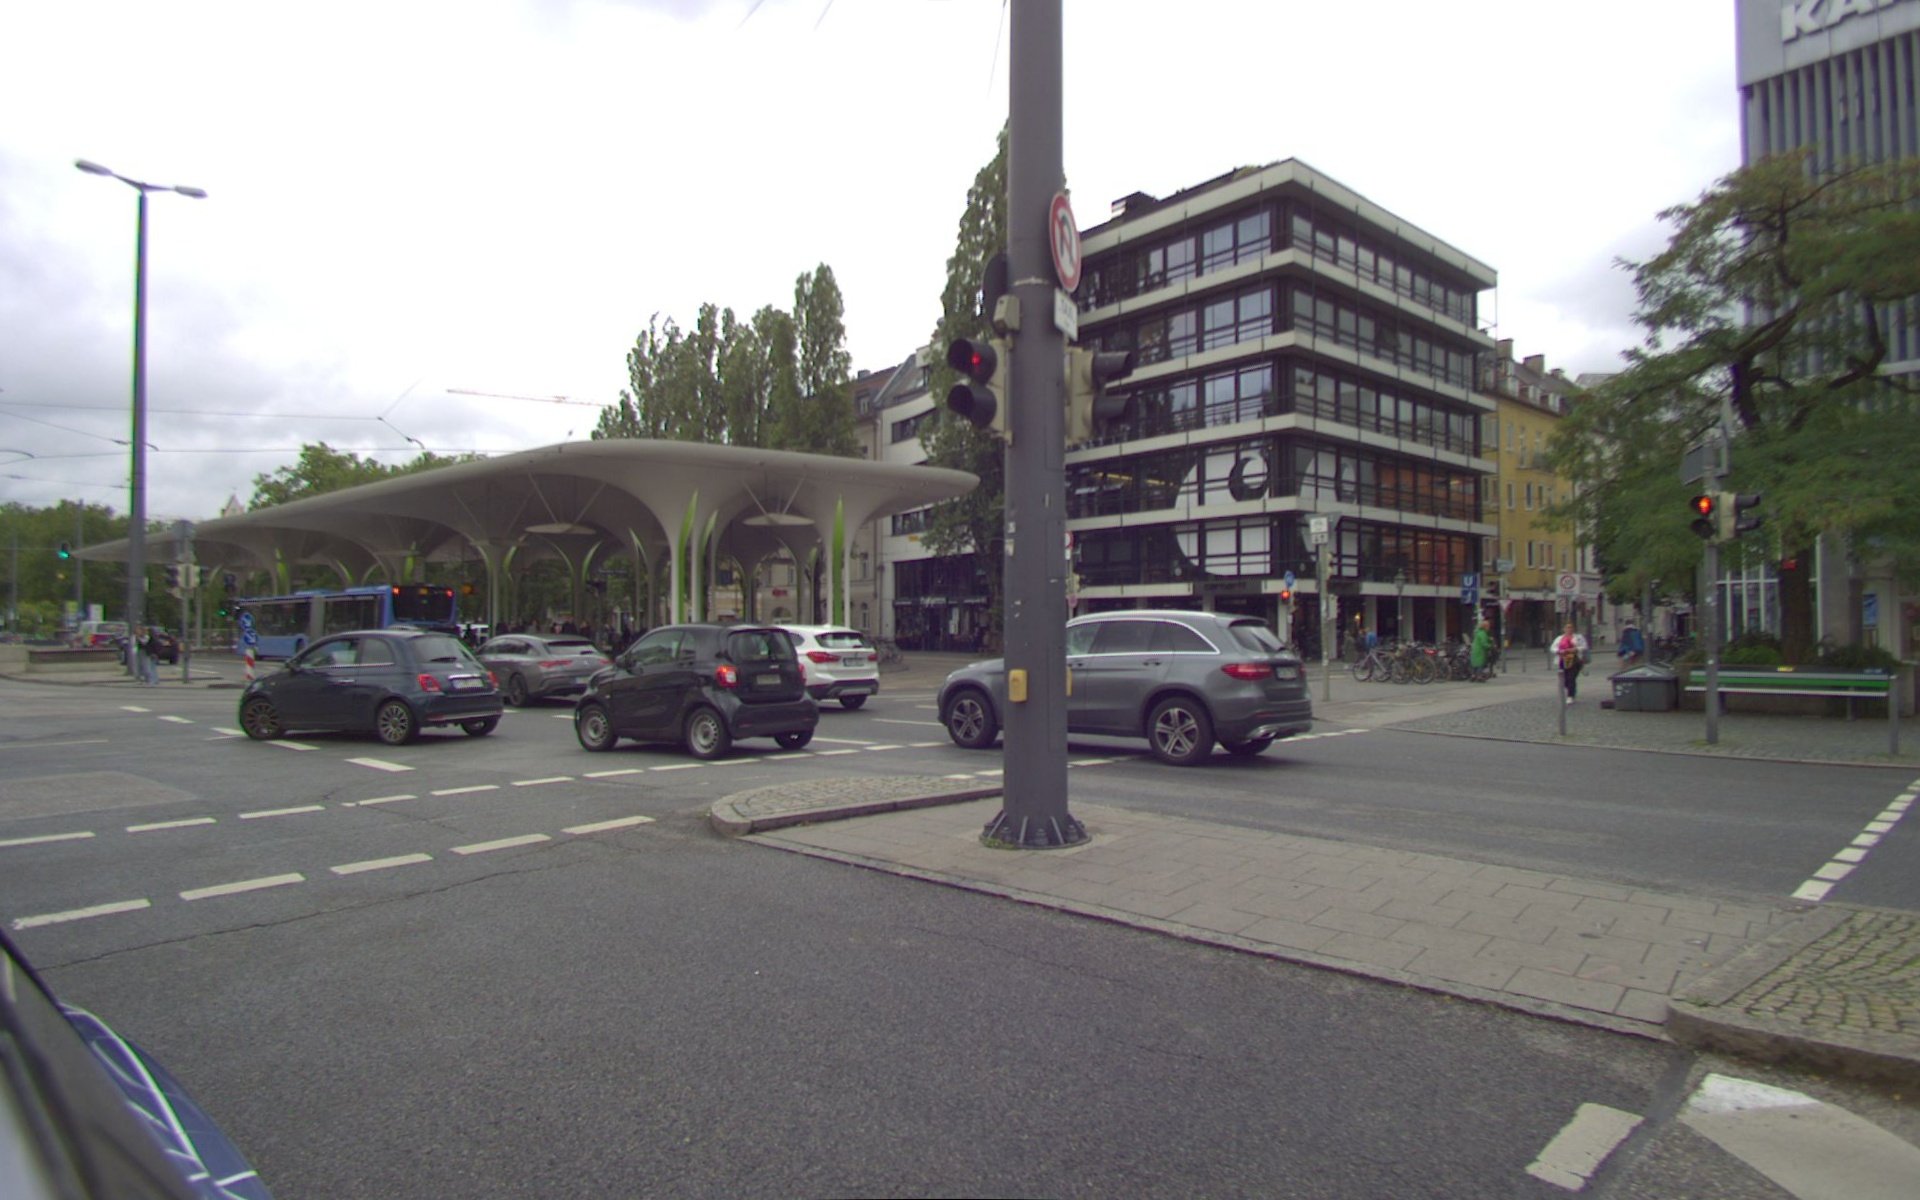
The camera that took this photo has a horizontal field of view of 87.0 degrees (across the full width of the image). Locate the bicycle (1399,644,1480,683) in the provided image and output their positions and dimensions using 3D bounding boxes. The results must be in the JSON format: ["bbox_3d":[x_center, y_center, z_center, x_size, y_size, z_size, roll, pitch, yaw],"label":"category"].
[{"bbox_3d":[13.498,1.774,28.540,1.985,1.005,0.521,1,0,41],"label":"bicycle"}]

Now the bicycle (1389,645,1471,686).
[{"bbox_3d":[12.975,1.794,27.967,1.985,1.005,0.521,1,0,41],"label":"bicycle"}]

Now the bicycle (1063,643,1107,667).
[{"bbox_3d":[5.109,2.245,41.317,1.704,0.946,0.455,1,-1,-6],"label":"bicycle"}]

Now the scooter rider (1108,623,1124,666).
[{"bbox_3d":[6.818,1.940,44.327,0.601,1.853,0.555,0,-2,1],"label":"scooter rider"}]

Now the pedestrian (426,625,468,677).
[{"bbox_3d":[-17.276,1.703,34.106,0.835,1.694,0.967,-1,-2,20],"label":"pedestrian"}]

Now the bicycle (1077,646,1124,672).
[{"bbox_3d":[5.328,2.251,38.344,1.707,0.946,0.455,1,-1,0],"label":"bicycle"}]

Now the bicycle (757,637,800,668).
[{"bbox_3d":[-7.020,2.008,38.983,0.633,1.133,2.169,1,-2,-40],"label":"bicycle"}]

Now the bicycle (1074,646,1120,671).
[{"bbox_3d":[5.279,2.249,38.998,1.704,0.946,0.456,1,-1,-7],"label":"bicycle"}]

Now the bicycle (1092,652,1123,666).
[{"bbox_3d":[6.945,2.758,47.551,1.607,0.637,0.364,1,-2,-35],"label":"bicycle"}]

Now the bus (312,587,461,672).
[{"bbox_3d":[-22.453,1.204,39.420,7.509,3.031,2.632,-2,-4,41],"label":"bus"}]

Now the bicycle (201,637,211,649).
[{"bbox_3d":[-60.949,3.477,81.806,0.473,0.901,1.852,1,-2,-42],"label":"bicycle"}]

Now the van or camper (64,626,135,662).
[{"bbox_3d":[-46.365,2.361,54.489,5.434,1.840,1.909,-2,-2,39],"label":"van or camper"}]

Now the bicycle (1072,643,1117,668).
[{"bbox_3d":[5.426,2.237,40.841,1.704,0.946,0.455,1,-1,-6],"label":"bicycle"}]

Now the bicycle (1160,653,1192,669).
[{"bbox_3d":[9.507,2.687,44.485,1.607,0.637,0.364,1,-2,-35],"label":"bicycle"}]

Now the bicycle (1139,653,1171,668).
[{"bbox_3d":[8.735,2.709,45.278,1.607,0.637,0.364,1,-2,-35],"label":"bicycle"}]

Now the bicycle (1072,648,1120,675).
[{"bbox_3d":[4.997,2.266,37.222,1.718,0.946,0.452,0,-1,20],"label":"bicycle"}]

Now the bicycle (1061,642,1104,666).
[{"bbox_3d":[5.100,2.242,42.035,1.702,0.946,0.456,1,-1,-15],"label":"bicycle"}]

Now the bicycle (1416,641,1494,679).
[{"bbox_3d":[14.468,1.737,29.622,1.985,1.005,0.521,1,0,41],"label":"bicycle"}]

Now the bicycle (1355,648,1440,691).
[{"bbox_3d":[11.454,1.809,26.529,1.985,1.005,0.521,1,0,41],"label":"bicycle"}]

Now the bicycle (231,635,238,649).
[{"bbox_3d":[-59.513,3.439,83.008,0.472,1.104,1.854,1,-2,-36],"label":"bicycle"}]

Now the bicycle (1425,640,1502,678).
[{"bbox_3d":[14.923,1.736,30.050,1.985,1.005,0.521,1,0,41],"label":"bicycle"}]

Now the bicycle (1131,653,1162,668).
[{"bbox_3d":[8.420,2.717,45.726,1.607,0.637,0.364,1,-2,-35],"label":"bicycle"}]

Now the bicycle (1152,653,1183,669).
[{"bbox_3d":[9.196,2.696,44.800,1.607,0.637,0.364,1,-2,-35],"label":"bicycle"}]

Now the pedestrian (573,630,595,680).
[{"bbox_3d":[-13.138,1.909,35.352,0.540,1.733,0.616,1,-2,-42],"label":"pedestrian"}]

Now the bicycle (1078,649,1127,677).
[{"bbox_3d":[5.155,2.264,36.678,1.719,0.946,0.452,0,-1,22],"label":"bicycle"}]

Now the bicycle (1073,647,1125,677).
[{"bbox_3d":[4.752,2.109,34.618,1.718,0.946,0.452,0,-1,21],"label":"bicycle"}]

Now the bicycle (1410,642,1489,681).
[{"bbox_3d":[14.095,1.767,29.161,1.985,1.005,0.521,1,0,41],"label":"bicycle"}]

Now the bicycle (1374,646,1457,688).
[{"bbox_3d":[12.249,1.777,27.250,1.985,1.005,0.521,1,0,41],"label":"bicycle"}]

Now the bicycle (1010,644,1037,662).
[{"bbox_3d":[3.295,2.748,52.696,0.449,0.933,1.805,-2,-2,38],"label":"bicycle"}]

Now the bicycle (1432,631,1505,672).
[{"bbox_3d":[15.308,1.535,30.509,1.893,1.119,0.578,0,-1,42],"label":"bicycle"}]

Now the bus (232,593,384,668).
[{"bbox_3d":[-29.317,1.405,45.224,10.506,3.031,2.633,-2,-4,40],"label":"bus"}]

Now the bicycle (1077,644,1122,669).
[{"bbox_3d":[5.514,2.237,40.138,1.704,0.946,0.456,1,-1,-7],"label":"bicycle"}]

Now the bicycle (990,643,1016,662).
[{"bbox_3d":[2.289,2.778,53.702,0.449,0.933,1.805,-2,-2,38],"label":"bicycle"}]

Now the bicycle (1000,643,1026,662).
[{"bbox_3d":[2.789,2.764,53.074,0.449,0.933,1.805,-2,-2,38],"label":"bicycle"}]

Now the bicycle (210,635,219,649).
[{"bbox_3d":[-60.522,3.389,82.148,0.472,1.104,1.853,1,-2,-39],"label":"bicycle"}]

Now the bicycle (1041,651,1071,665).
[{"bbox_3d":[4.736,2.855,49.997,1.607,0.637,0.364,1,-2,-35],"label":"bicycle"}]
